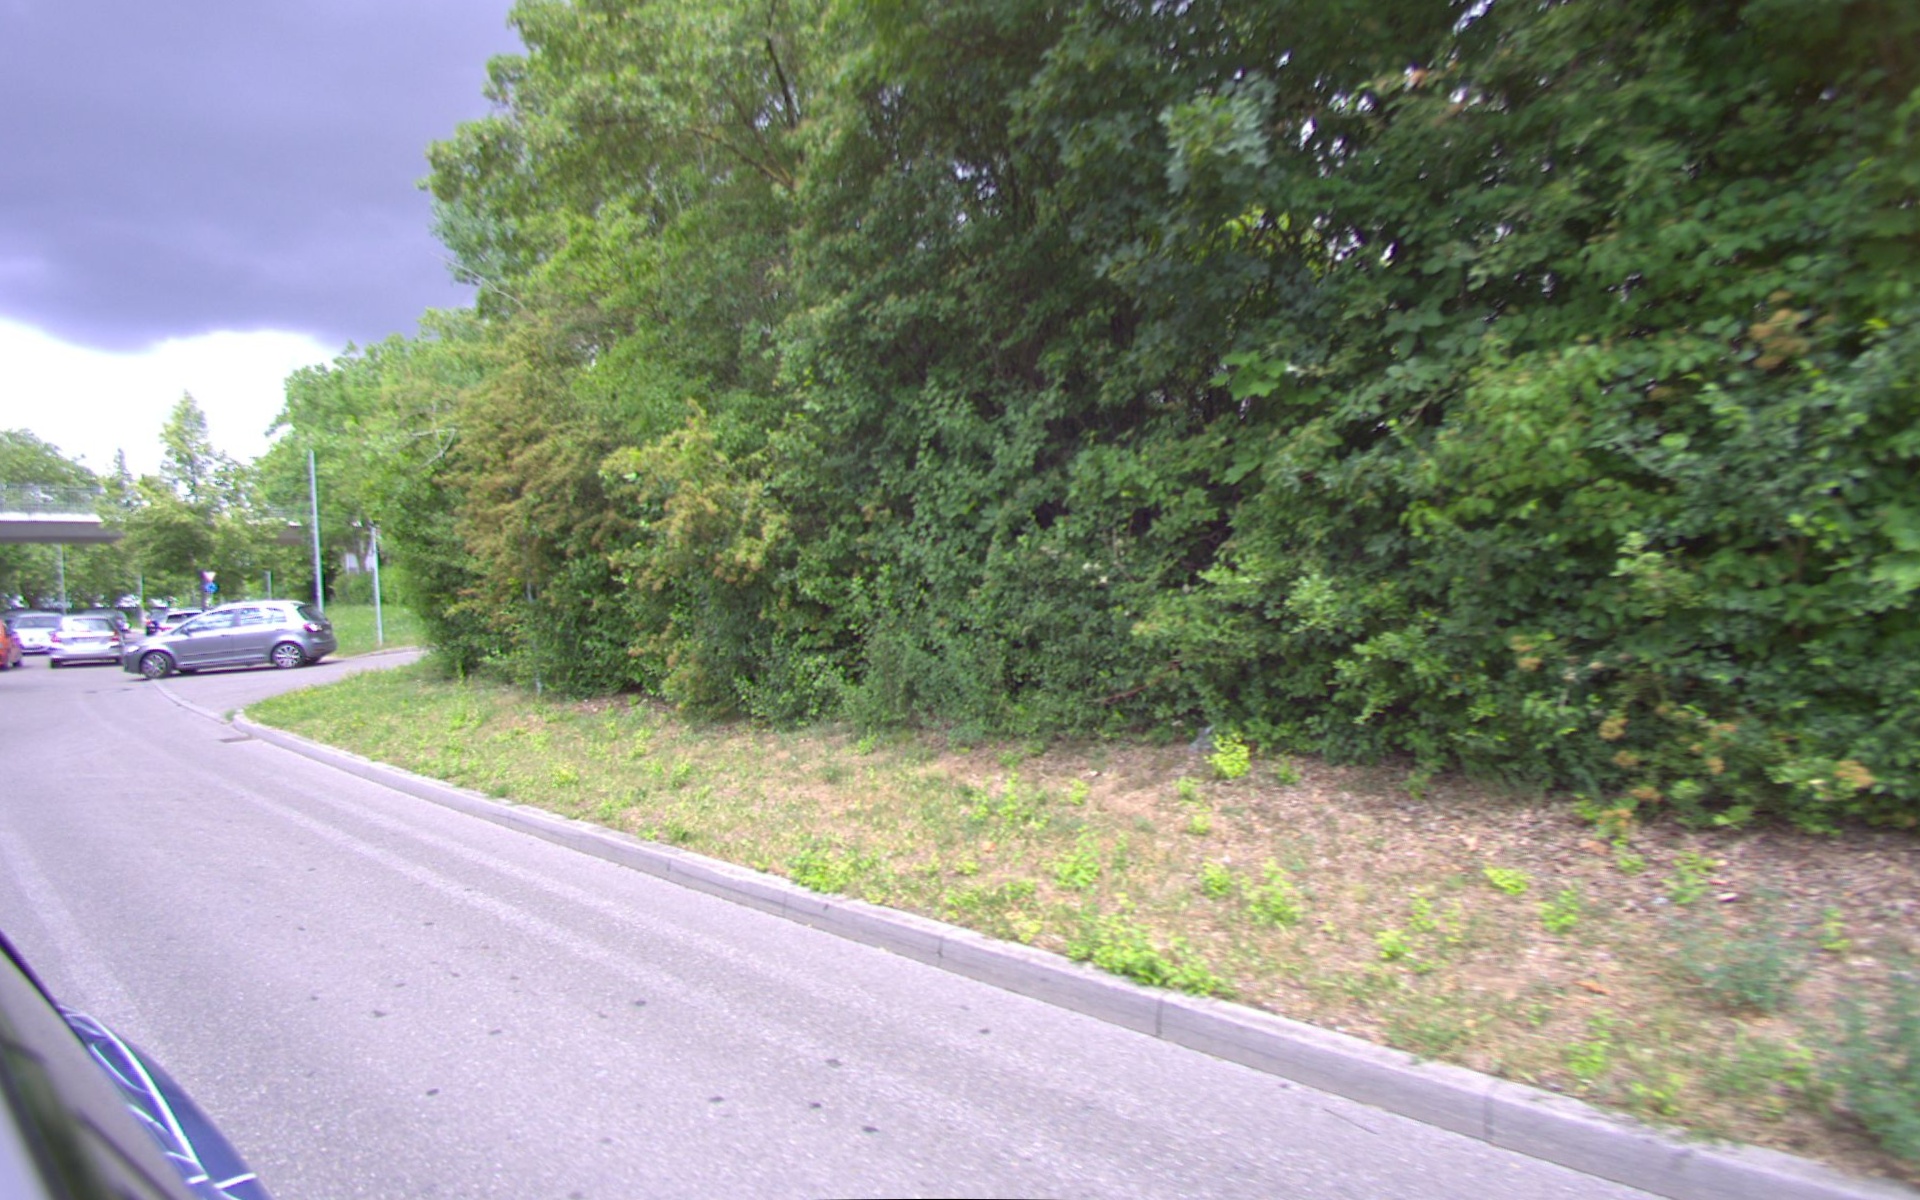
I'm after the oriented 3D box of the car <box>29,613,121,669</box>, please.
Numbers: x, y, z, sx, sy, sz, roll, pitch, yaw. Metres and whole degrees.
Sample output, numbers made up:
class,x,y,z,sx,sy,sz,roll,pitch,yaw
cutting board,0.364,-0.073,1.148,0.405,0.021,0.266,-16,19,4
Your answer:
class,x,y,z,sx,sy,sz,roll,pitch,yaw
car,-26.088,1.147,29.935,1.817,1.467,3.660,-1,1,-38

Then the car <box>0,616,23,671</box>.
class,x,y,z,sx,sy,sz,roll,pitch,yaw
car,-27.377,1.213,27.887,1.833,1.453,4.009,-2,0,-37

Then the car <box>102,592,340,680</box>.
class,x,y,z,sx,sy,sz,roll,pitch,yaw
car,-17.102,0.786,23.640,4.050,1.674,1.763,-4,1,-16

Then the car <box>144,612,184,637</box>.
class,x,y,z,sx,sy,sz,roll,pitch,yaw
car,-47.572,1.446,60.523,1.729,1.430,4.377,-1,0,-37

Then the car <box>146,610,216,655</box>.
class,x,y,z,sx,sy,sz,roll,pitch,yaw
car,-27.263,1.089,35.516,1.784,1.415,4.058,-1,1,-36

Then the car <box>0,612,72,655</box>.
class,x,y,z,sx,sy,sz,roll,pitch,yaw
car,-35.448,1.248,38.729,1.752,1.463,4.010,-1,1,-36

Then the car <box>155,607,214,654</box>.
class,x,y,z,sx,sy,sz,roll,pitch,yaw
car,-30.138,1.166,39.396,1.573,1.596,2.692,-6,3,-34

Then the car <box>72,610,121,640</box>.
class,x,y,z,sx,sy,sz,roll,pitch,yaw
car,-46.188,1.347,54.202,1.753,1.431,4.008,6,-5,-38
